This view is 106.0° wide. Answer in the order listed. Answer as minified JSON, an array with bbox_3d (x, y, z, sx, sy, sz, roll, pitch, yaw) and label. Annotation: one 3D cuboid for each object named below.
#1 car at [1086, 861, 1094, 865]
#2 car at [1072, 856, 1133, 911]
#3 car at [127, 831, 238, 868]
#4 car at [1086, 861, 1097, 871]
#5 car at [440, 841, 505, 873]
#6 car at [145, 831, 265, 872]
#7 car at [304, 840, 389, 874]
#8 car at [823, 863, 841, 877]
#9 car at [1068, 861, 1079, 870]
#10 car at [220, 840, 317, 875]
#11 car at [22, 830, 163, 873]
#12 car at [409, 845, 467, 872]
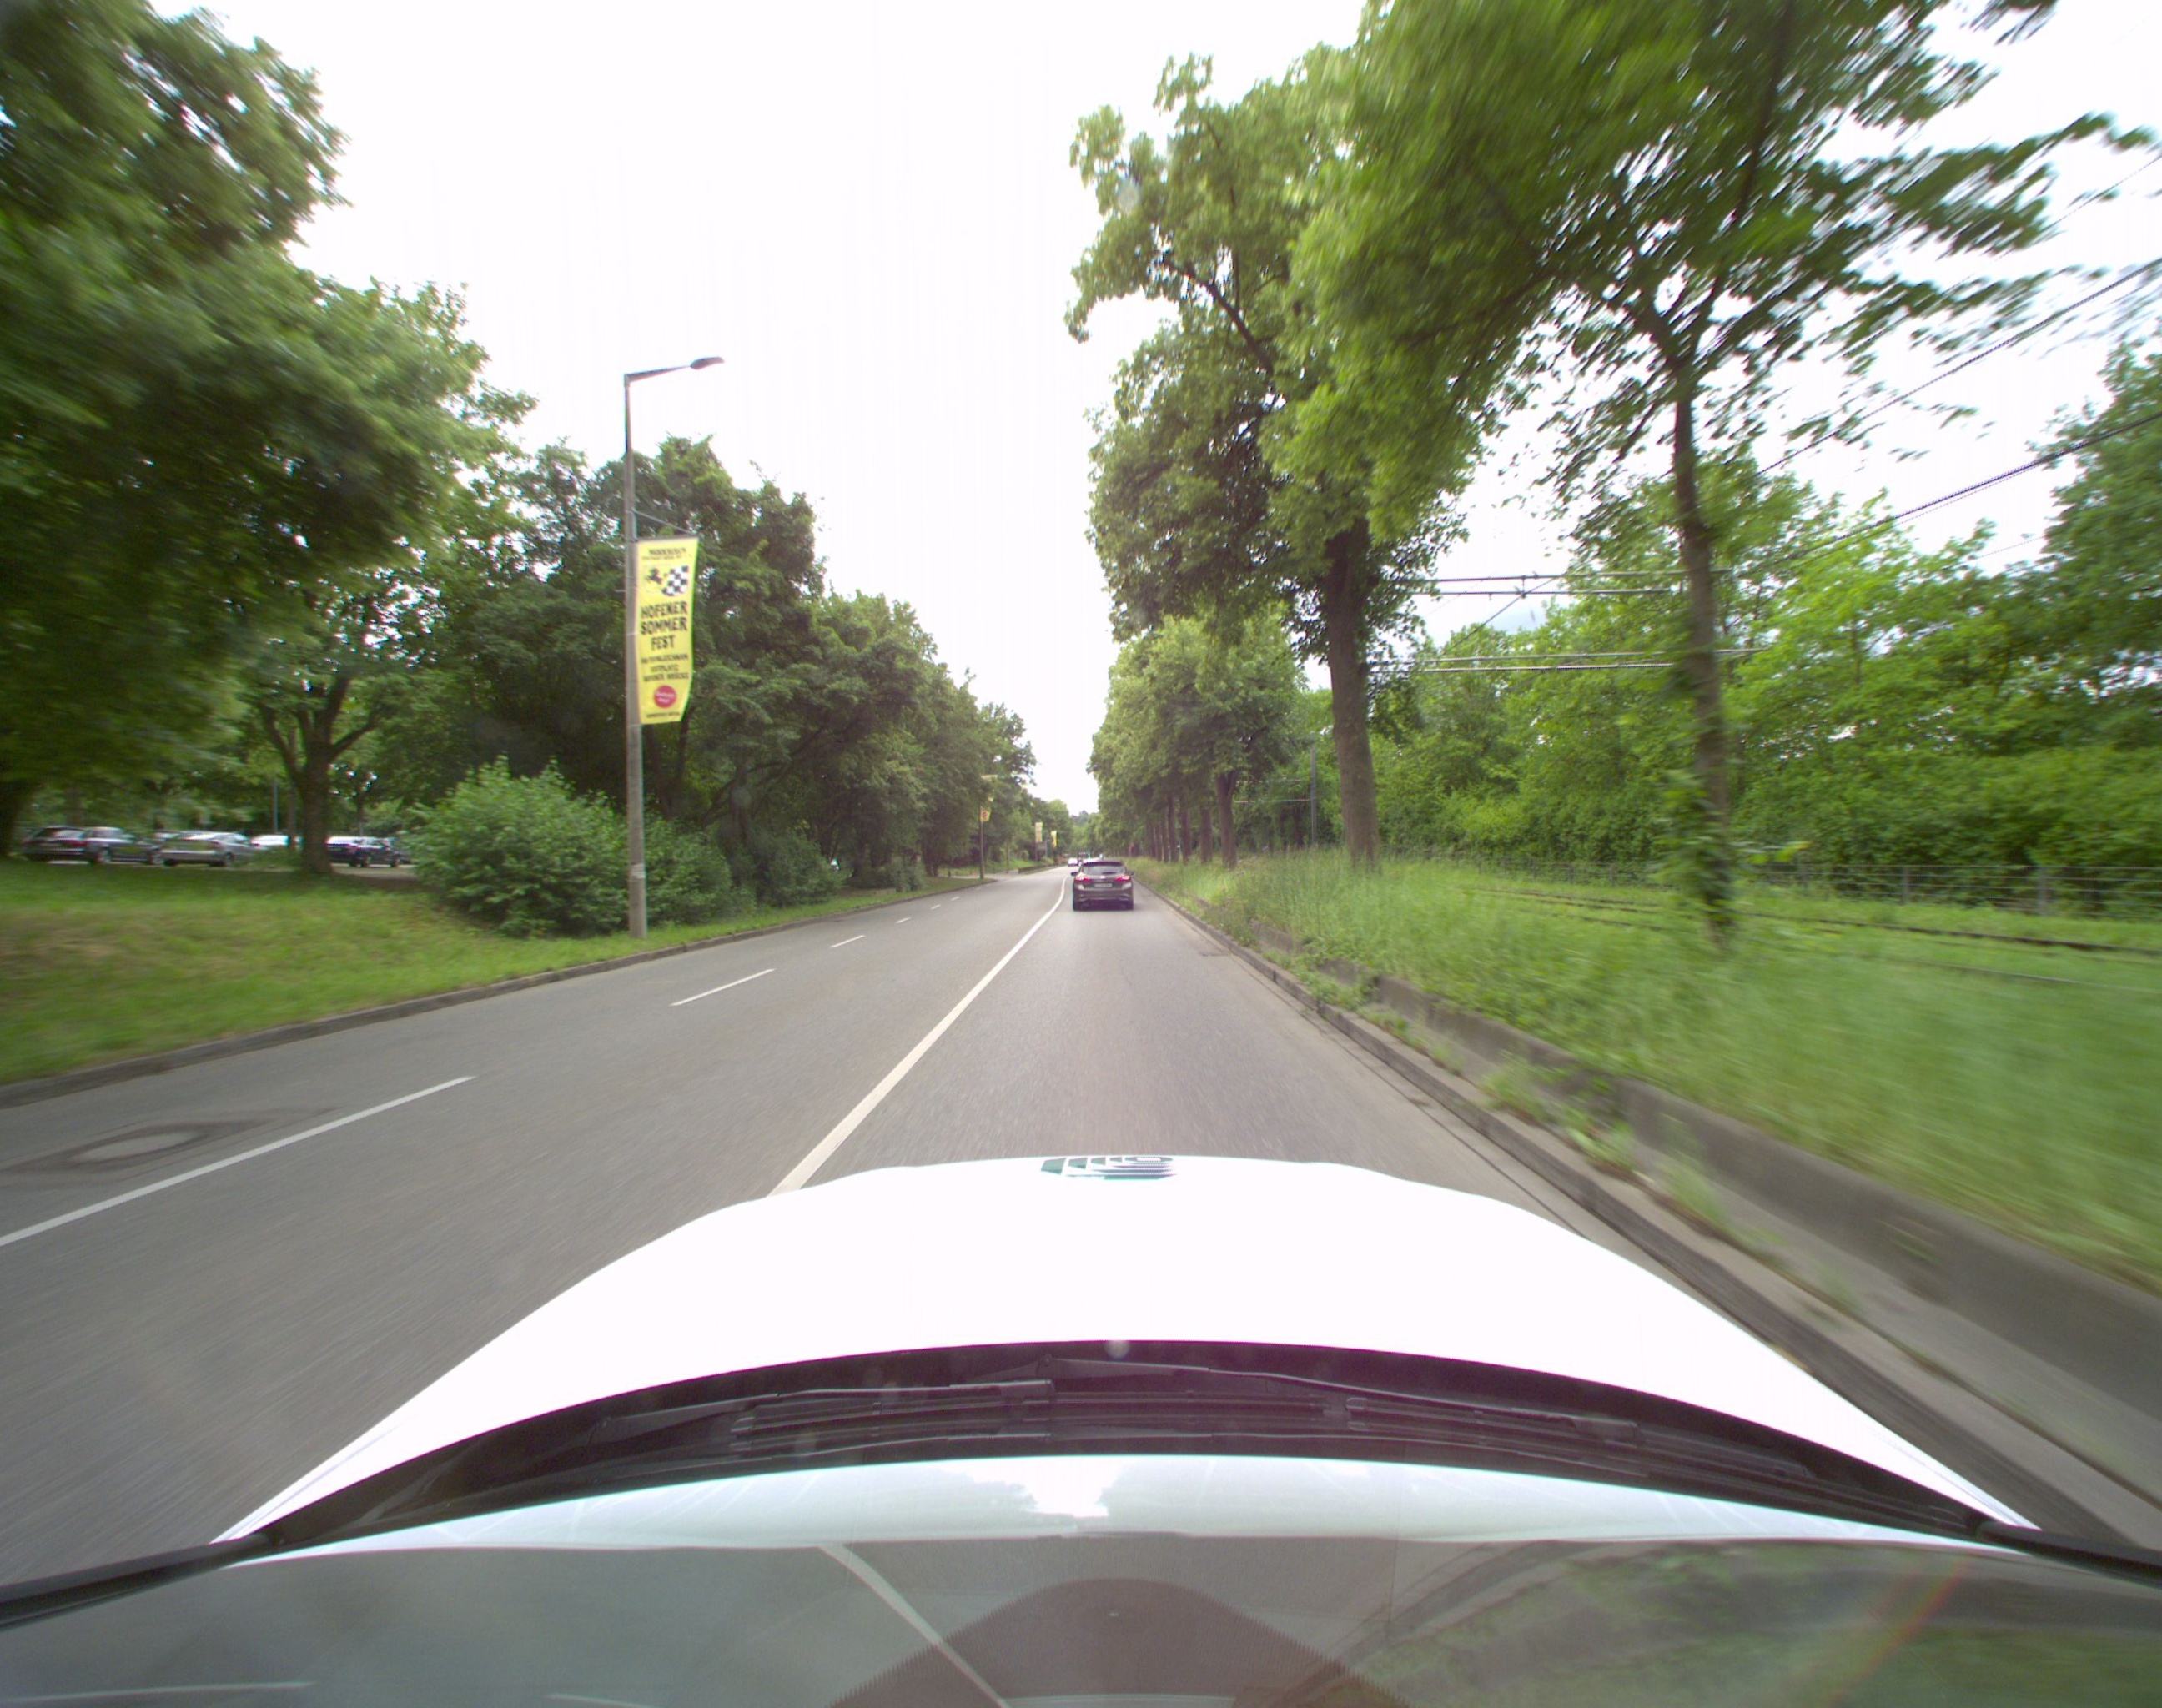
[{"bbox_3d":[2.583,2.640,239.264,1.562,1.441,3.538,0,-1,-11],"label":"car"},{"bbox_3d":[0.630,0.841,24.718,1.724,1.537,3.552,0,-1,1],"label":"car"},{"bbox_3d":[-38.976,-0.159,35.455,1.653,1.486,3.970,0,-1,-22],"label":"car"},{"bbox_3d":[1.732,1.891,129.104,1.555,1.441,3.554,0,-1,3],"label":"car"},{"bbox_3d":[-30.244,0.158,40.581,1.653,1.486,3.970,0,-1,-22],"label":"car"},{"bbox_3d":[-34.095,-0.073,31.828,1.653,1.486,3.970,0,-1,-22],"label":"car"},{"bbox_3d":[-33.672,0.150,37.457,1.653,1.486,3.970,0,-1,-22],"label":"car"},{"bbox_3d":[-22.293,1.422,72.818,1.375,1.238,3.050,1,-1,-20],"label":"car"},{"bbox_3d":[-1.230,1.936,135.880,1.711,1.428,4.195,-3,-1,-1],"label":"car"},{"bbox_3d":[-36.231,0.157,36.435,1.653,1.486,3.970,0,-1,-22],"label":"car"},{"bbox_3d":[-36.769,-0.069,30.444,1.653,1.486,3.970,0,-1,-22],"label":"car"},{"bbox_3d":[-38.125,0.275,48.390,1.653,1.486,3.970,0,-1,-22],"label":"car"}]
